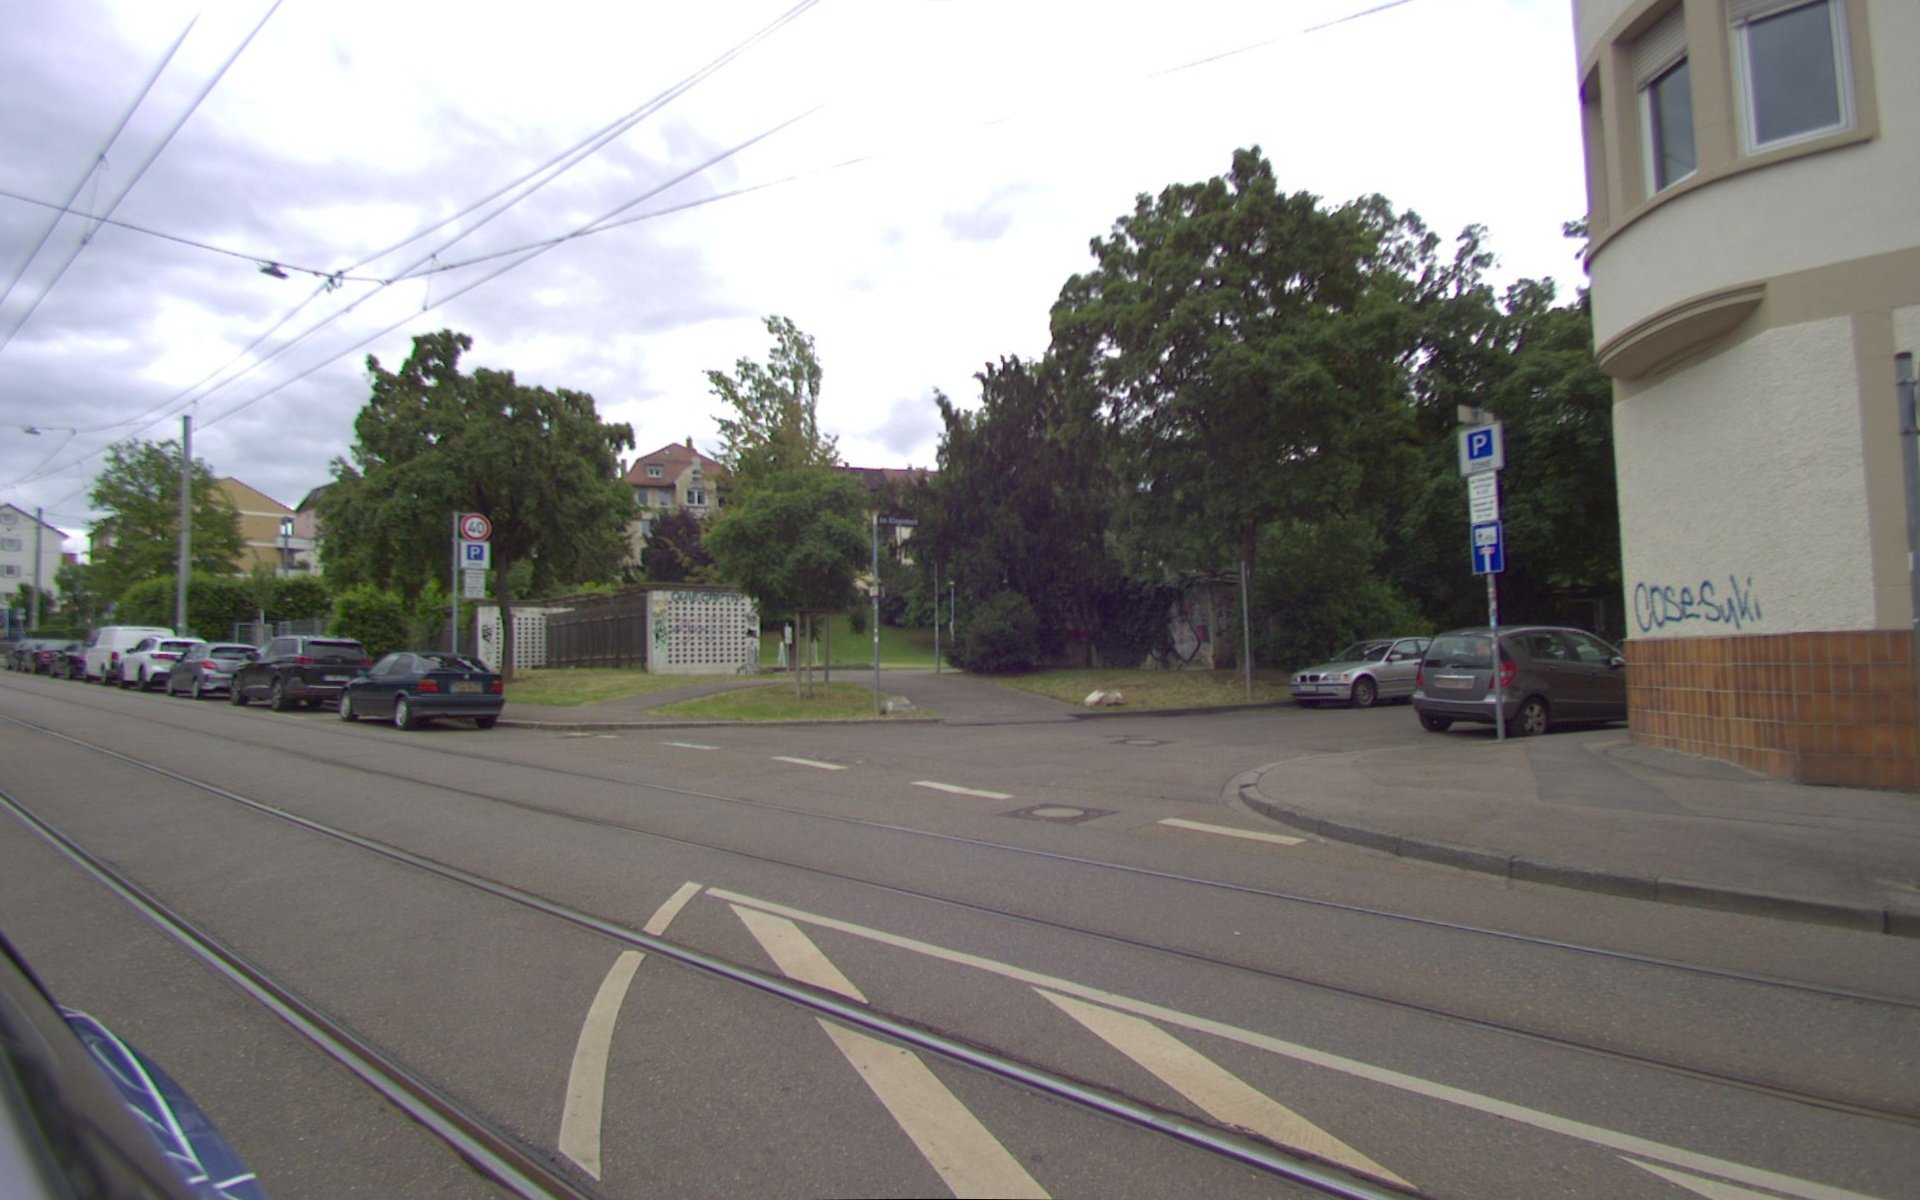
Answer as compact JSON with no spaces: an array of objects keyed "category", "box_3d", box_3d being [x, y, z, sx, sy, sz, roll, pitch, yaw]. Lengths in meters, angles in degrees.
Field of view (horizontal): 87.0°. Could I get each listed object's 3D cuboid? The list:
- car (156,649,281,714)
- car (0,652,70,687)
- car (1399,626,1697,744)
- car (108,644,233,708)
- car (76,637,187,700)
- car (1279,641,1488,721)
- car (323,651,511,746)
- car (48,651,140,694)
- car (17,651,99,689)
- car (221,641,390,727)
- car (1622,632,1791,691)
[{"category":"car","box_3d":[-19.930,2.145,27.154,3.865,1.520,1.721,-1,-3,39]},{"category":"car","box_3d":[-42.020,3.110,45.876,4.157,1.415,1.772,-1,-3,39]},{"category":"car","box_3d":[8.819,1.213,15.205,3.930,1.584,1.882,1,-3,-24]},{"category":"car","box_3d":[-23.997,2.256,30.722,4.628,1.699,1.949,-1,-3,39]},{"category":"car","box_3d":[-28.277,2.298,34.505,4.730,1.927,1.949,-1,-3,39]},{"category":"car","box_3d":[8.900,1.652,21.270,3.930,1.451,1.766,-1,-3,-24]},{"category":"car","box_3d":[-10.263,1.772,19.013,4.152,1.489,1.604,-1,-3,39]},{"category":"car","box_3d":[-32.728,2.700,38.217,4.513,1.398,1.821,-1,-3,39]},{"category":"car","box_3d":[-37.640,2.874,42.181,4.435,1.398,1.821,-1,-3,39]},{"category":"car","box_3d":[-15.123,1.865,23.304,4.440,1.699,1.949,-1,-3,39]},{"category":"car","box_3d":[19.373,1.577,26.278,3.930,1.430,1.766,1,-3,-24]}]
